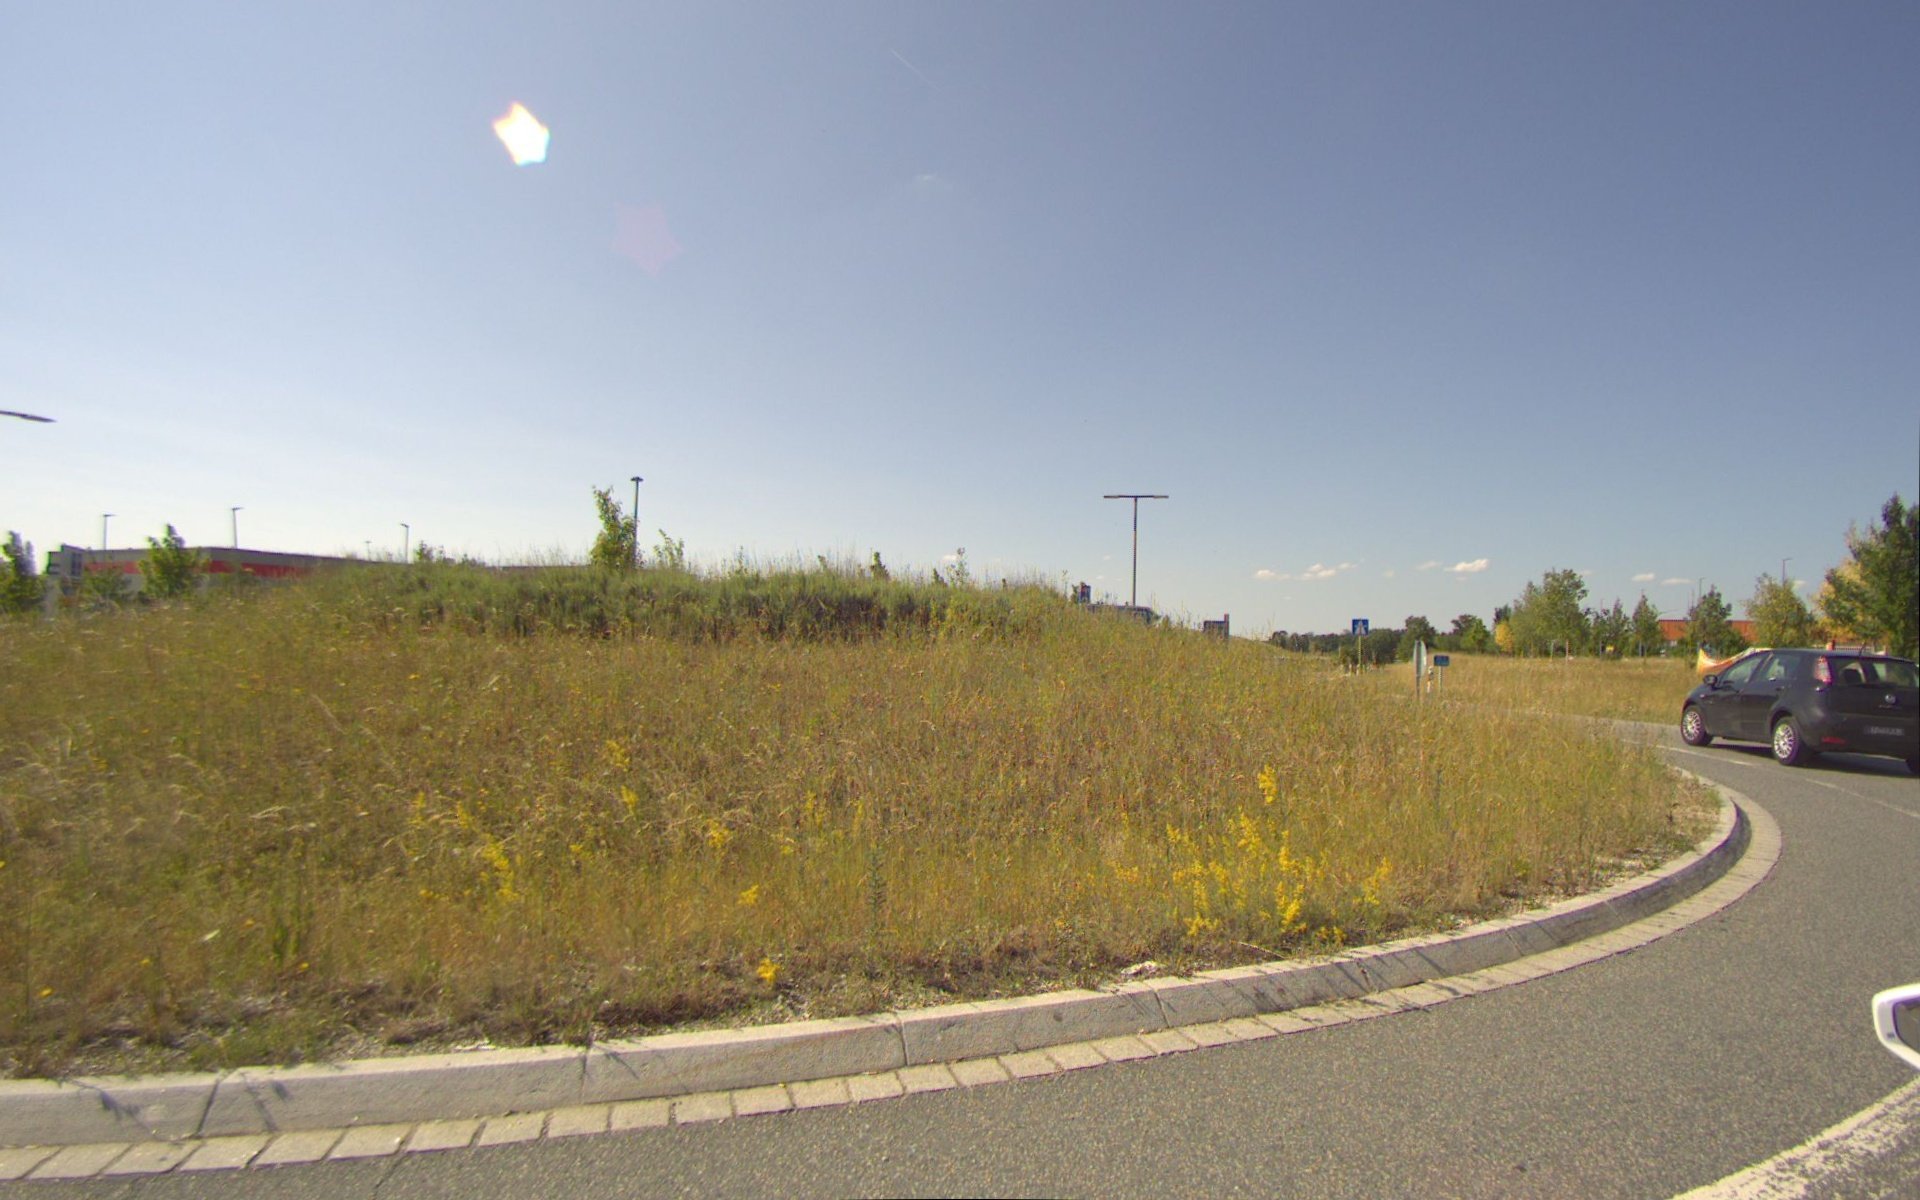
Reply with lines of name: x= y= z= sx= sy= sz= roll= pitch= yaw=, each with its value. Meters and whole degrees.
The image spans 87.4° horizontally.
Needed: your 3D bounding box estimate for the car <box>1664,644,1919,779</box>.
car: x=11.447 y=1.410 z=13.845 sx=1.612 sy=1.507 sz=3.907 roll=2 pitch=-1 yaw=16
